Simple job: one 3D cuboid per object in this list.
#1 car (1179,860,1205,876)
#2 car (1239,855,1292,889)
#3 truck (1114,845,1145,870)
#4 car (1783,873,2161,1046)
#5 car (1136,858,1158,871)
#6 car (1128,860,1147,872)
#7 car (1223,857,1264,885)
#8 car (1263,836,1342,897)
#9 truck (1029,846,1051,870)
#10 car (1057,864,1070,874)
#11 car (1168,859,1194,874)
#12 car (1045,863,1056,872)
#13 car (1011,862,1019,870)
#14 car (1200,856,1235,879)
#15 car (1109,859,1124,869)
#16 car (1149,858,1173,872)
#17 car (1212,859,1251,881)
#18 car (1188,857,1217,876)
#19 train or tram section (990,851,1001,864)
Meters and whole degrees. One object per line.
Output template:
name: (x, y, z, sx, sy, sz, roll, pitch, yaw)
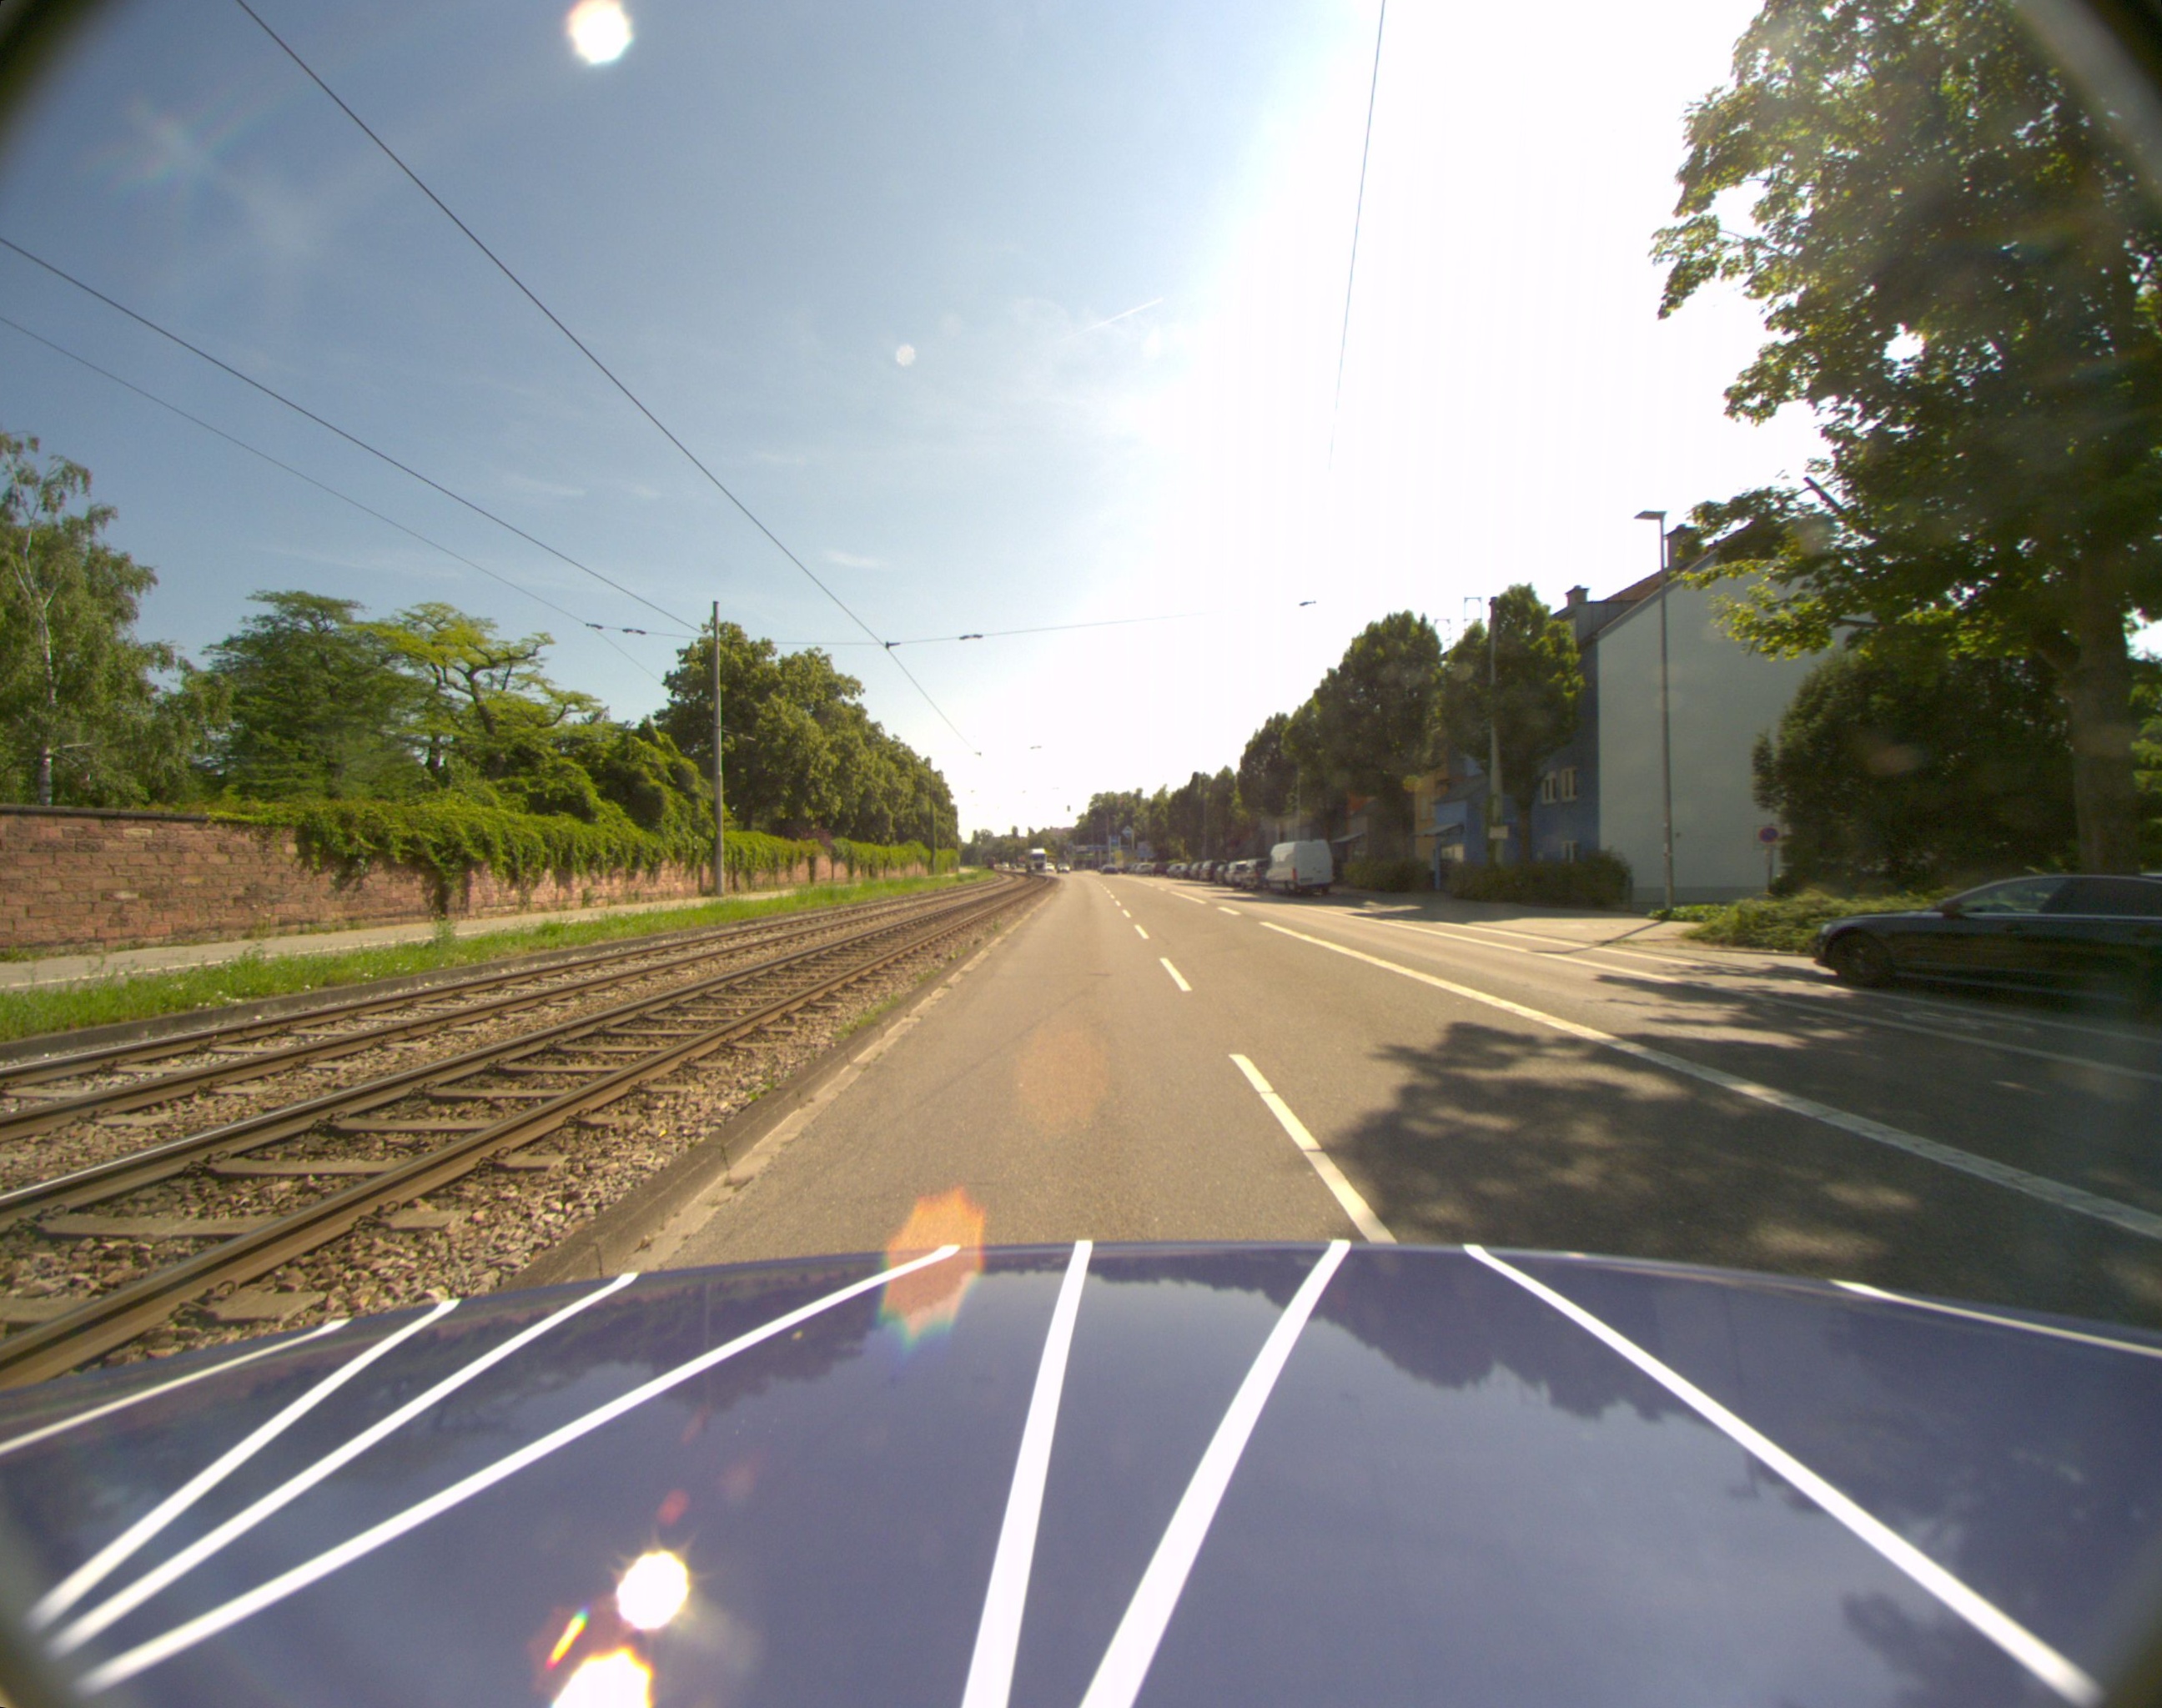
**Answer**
car: (10.827, 1.319, 74.085, 1.681, 1.461, 4.213, -2, 0, -3)
car: (11.272, 1.049, 46.729, 1.998, 1.855, 4.967, -5, 0, 1)
truck: (7.105, 0.520, 112.337, 3.165, 3.533, 8.780, -1, 0, -6)
car: (10.527, 0.986, 7.880, 1.845, 1.457, 4.909, -1, 0, -2)
car: (8.694, 1.364, 100.259, 2.040, 1.490, 4.131, -2, 0, -6)
car: (7.784, 1.624, 104.845, 1.915, 1.469, 4.214, -2, 0, -6)
car: (11.157, 1.110, 52.574, 1.852, 1.693, 4.540, -4, 0, 1)
car: (11.083, 0.599, 38.727, 1.998, 2.661, 7.087, -4, 0, 2)
truck: (-7.043, 0.684, 129.024, 2.807, 3.926, 11.935, 0, 0, -8)
car: (-2.713, 2.296, 118.162, 1.747, 1.421, 5.042, -2, 0, 1)
car: (10.627, 1.283, 80.867, 1.682, 1.437, 4.835, -2, 0, -6)
car: (-5.743, 2.505, 141.967, 1.784, 1.538, 4.394, -2, 0, 0)
car: (-16.589, 3.006, 191.063, 1.854, 1.707, 3.999, -3, 1, -1)
car: (11.176, 1.106, 62.630, 1.834, 1.718, 4.349, -3, 0, -3)
car: (4.467, 1.285, 95.553, 1.691, 1.237, 4.064, 0, 0, 1)
car: (9.661, 1.338, 92.459, 1.911, 1.567, 4.929, -2, 0, -6)
car: (11.410, 1.214, 57.753, 1.871, 1.446, 4.074, -4, 0, -3)
car: (10.881, 1.108, 68.127, 1.681, 1.598, 4.164, -2, 0, -3)
train or tram section: (-25.646, 1.004, 228.130, 2.722, 3.715, 18.869, -2, 0, -5)
